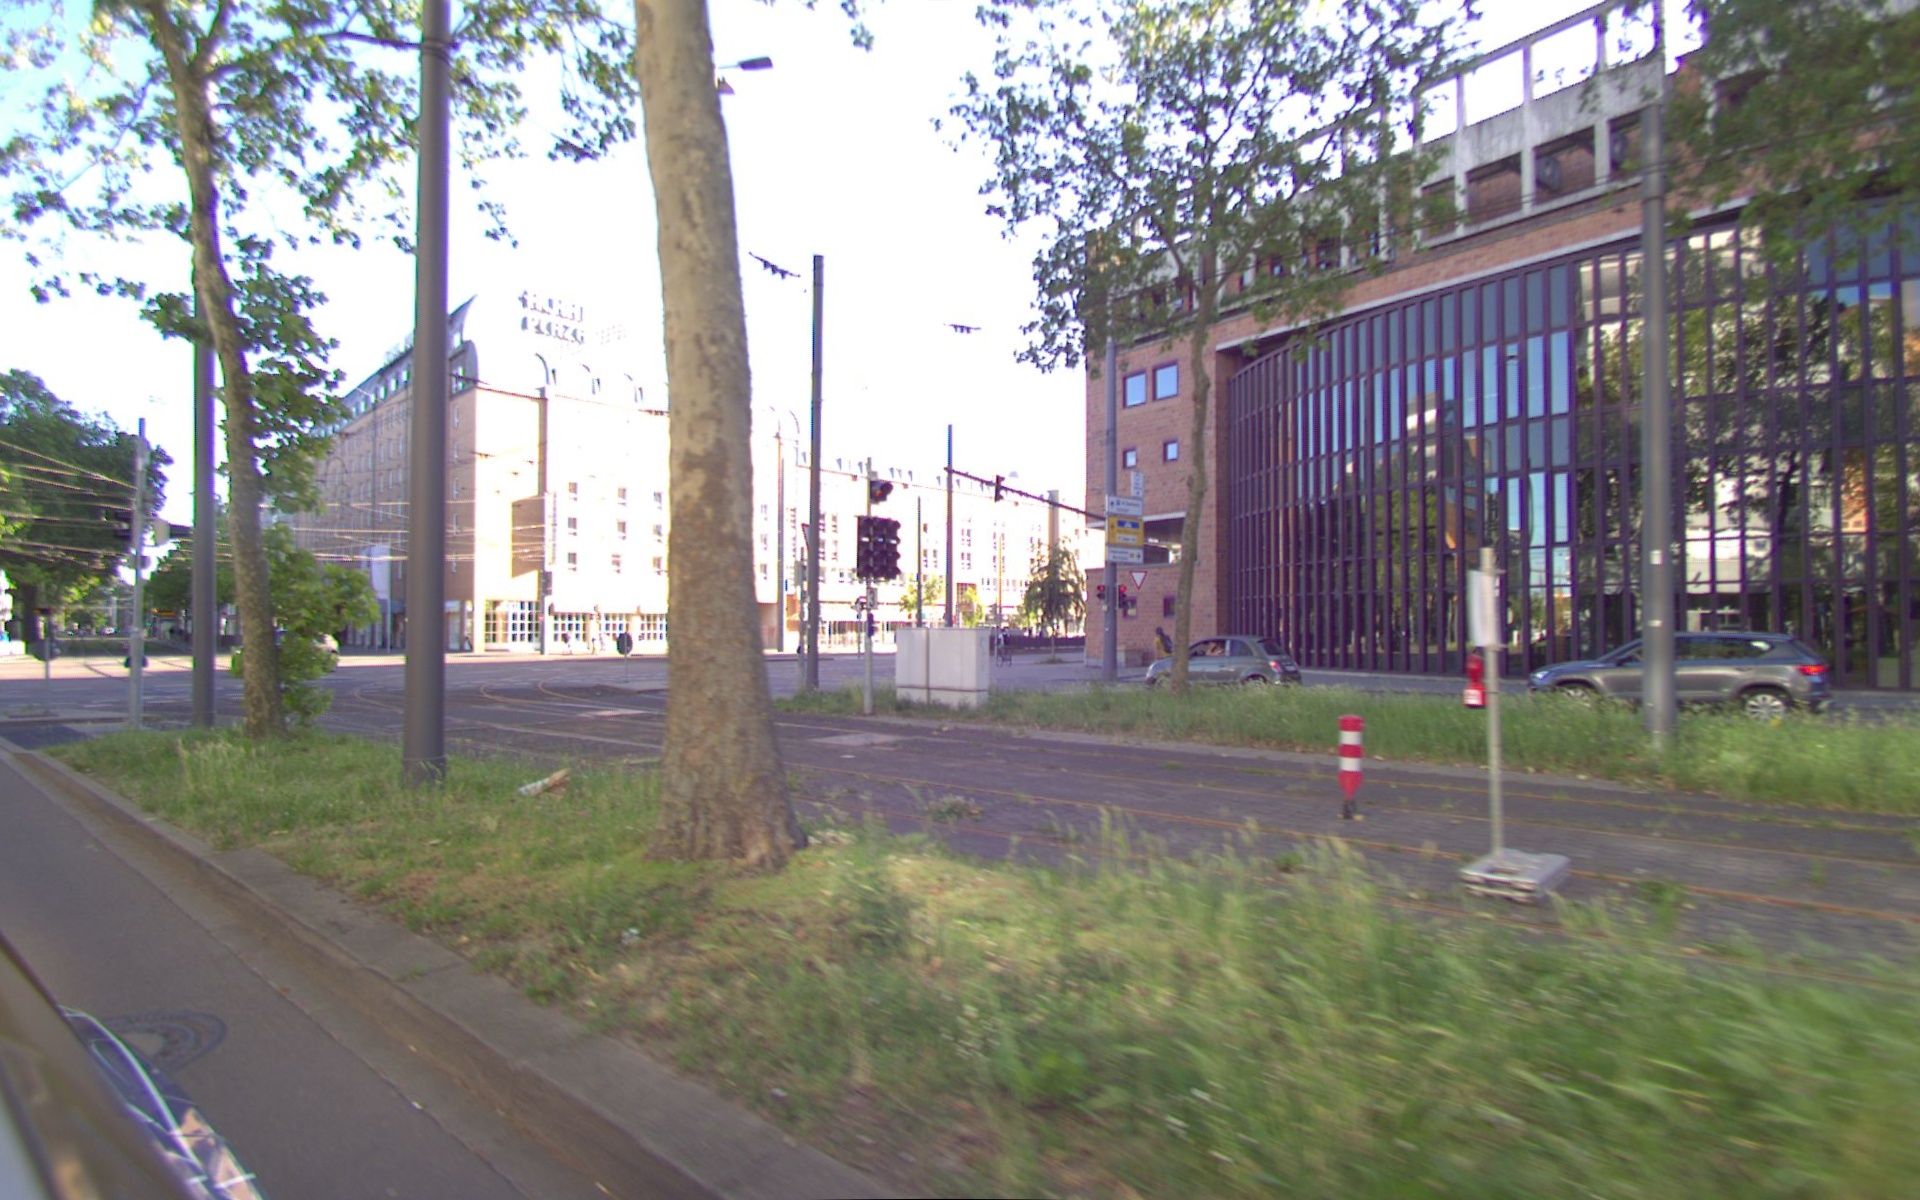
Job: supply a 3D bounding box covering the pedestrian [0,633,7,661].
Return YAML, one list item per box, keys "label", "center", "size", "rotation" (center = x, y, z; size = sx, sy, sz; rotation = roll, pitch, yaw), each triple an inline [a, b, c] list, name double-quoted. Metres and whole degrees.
- label: "pedestrian"
  center: [-53.317, 2.607, 55.971]
  size: [0.650, 1.551, 0.734]
  rotation: [-3, -3, 33]

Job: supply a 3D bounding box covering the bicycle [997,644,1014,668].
- label: "bicycle"
  center: [2.189, 2.705, 48.988]
  size: [0.607, 1.088, 1.922]
  rotation: [0, -2, -4]

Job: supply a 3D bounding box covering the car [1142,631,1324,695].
- label: "car"
  center: [6.176, 1.425, 23.071]
  size: [3.617, 1.338, 1.634]
  rotation: [-3, -3, 38]

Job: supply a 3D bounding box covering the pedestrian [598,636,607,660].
- label: "pedestrian"
  center: [-27.111, 3.651, 76.804]
  size: [0.570, 1.788, 0.406]
  rotation: [1, -1, -7]

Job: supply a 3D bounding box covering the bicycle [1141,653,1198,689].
- label: "bicycle"
  center: [5.672, 1.926, 27.515]
  size: [0.528, 0.920, 1.573]
  rotation: [1, -2, -36]

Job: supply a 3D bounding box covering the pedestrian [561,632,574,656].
- label: "pedestrian"
  center: [-29.012, 3.262, 74.791]
  size: [0.569, 1.781, 0.690]
  rotation: [-1, -3, 18]

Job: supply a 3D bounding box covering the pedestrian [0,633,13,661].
- label: "pedestrian"
  center: [-52.631, 2.573, 55.598]
  size: [0.675, 1.551, 0.734]
  rotation: [-3, -3, 33]

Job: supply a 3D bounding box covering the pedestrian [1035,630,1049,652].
- label: "pedestrian"
  center: [5.866, 2.903, 72.344]
  size: [0.701, 1.546, 0.646]
  rotation: [-2, -3, 37]

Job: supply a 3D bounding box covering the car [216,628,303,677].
- label: "car"
  center: [-25.572, 1.922, 36.909]
  size: [1.927, 1.675, 4.358]
  rotation: [1, -4, -44]

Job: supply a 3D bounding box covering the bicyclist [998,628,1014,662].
- label: "bicyclist"
  center: [2.205, 2.164, 49.003]
  size: [0.676, 1.602, 0.928]
  rotation: [0, -2, -3]

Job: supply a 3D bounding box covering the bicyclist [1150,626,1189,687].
- label: "bicyclist"
  center: [5.679, 1.526, 27.499]
  size: [0.614, 1.634, 0.816]
  rotation: [1, -2, -35]

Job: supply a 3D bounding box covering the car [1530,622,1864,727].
- label: "car"
  center: [12.367, 1.229, 17.250]
  size: [4.336, 1.574, 1.805]
  rotation: [-3, -3, 38]

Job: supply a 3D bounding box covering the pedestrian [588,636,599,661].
- label: "pedestrian"
  center: [-27.481, 3.644, 75.941]
  size: [0.492, 1.847, 0.732]
  rotation: [1, -1, 5]
